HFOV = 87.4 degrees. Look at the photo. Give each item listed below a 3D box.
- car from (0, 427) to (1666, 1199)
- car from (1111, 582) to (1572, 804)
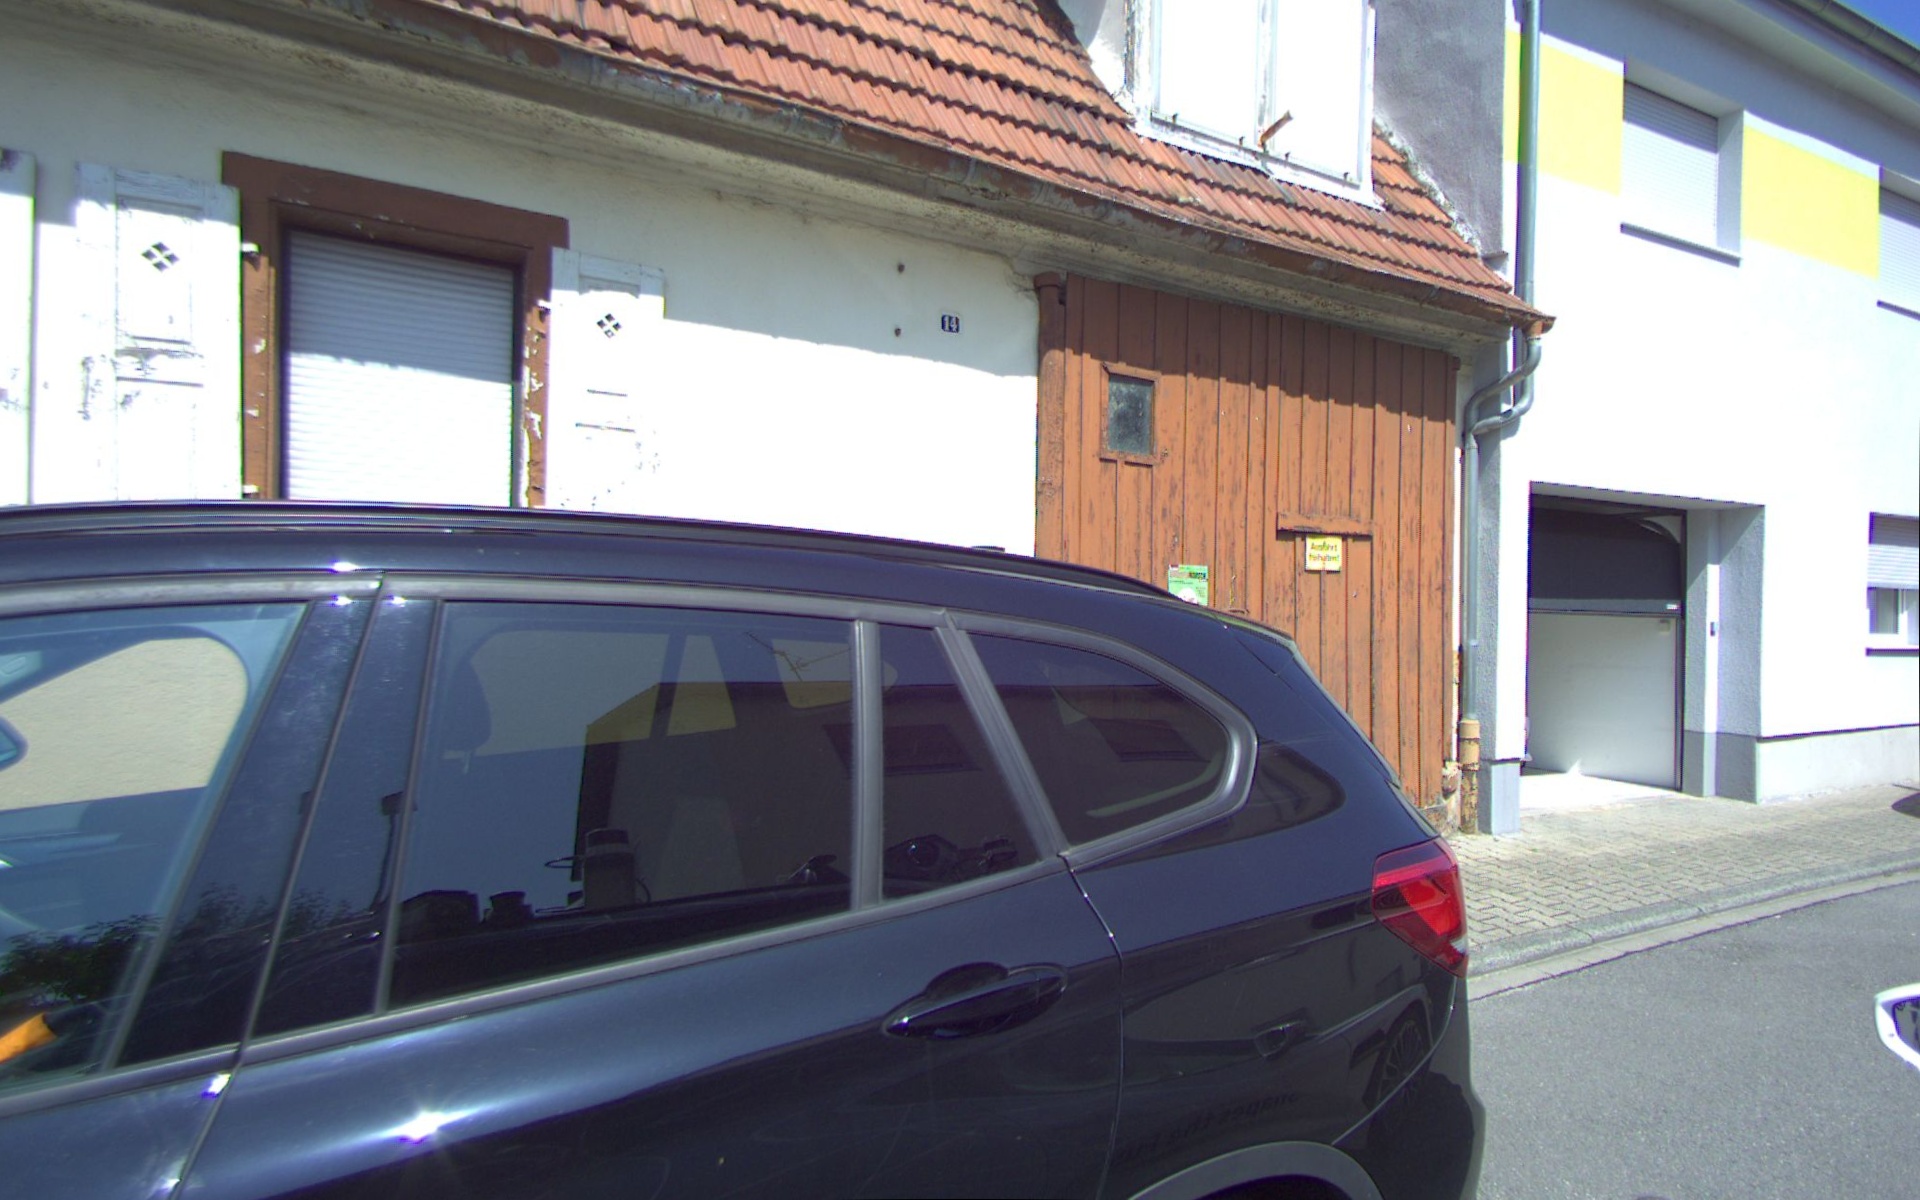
[{"bbox_3d":[-1.211,0.678,1.469,4.556,1.595,1.793,1,-1,-27],"label":"car"},{"bbox_3d":[3.341,0.715,9.616,1.809,1.639,3.973,1,-1,-27],"label":"car"}]
